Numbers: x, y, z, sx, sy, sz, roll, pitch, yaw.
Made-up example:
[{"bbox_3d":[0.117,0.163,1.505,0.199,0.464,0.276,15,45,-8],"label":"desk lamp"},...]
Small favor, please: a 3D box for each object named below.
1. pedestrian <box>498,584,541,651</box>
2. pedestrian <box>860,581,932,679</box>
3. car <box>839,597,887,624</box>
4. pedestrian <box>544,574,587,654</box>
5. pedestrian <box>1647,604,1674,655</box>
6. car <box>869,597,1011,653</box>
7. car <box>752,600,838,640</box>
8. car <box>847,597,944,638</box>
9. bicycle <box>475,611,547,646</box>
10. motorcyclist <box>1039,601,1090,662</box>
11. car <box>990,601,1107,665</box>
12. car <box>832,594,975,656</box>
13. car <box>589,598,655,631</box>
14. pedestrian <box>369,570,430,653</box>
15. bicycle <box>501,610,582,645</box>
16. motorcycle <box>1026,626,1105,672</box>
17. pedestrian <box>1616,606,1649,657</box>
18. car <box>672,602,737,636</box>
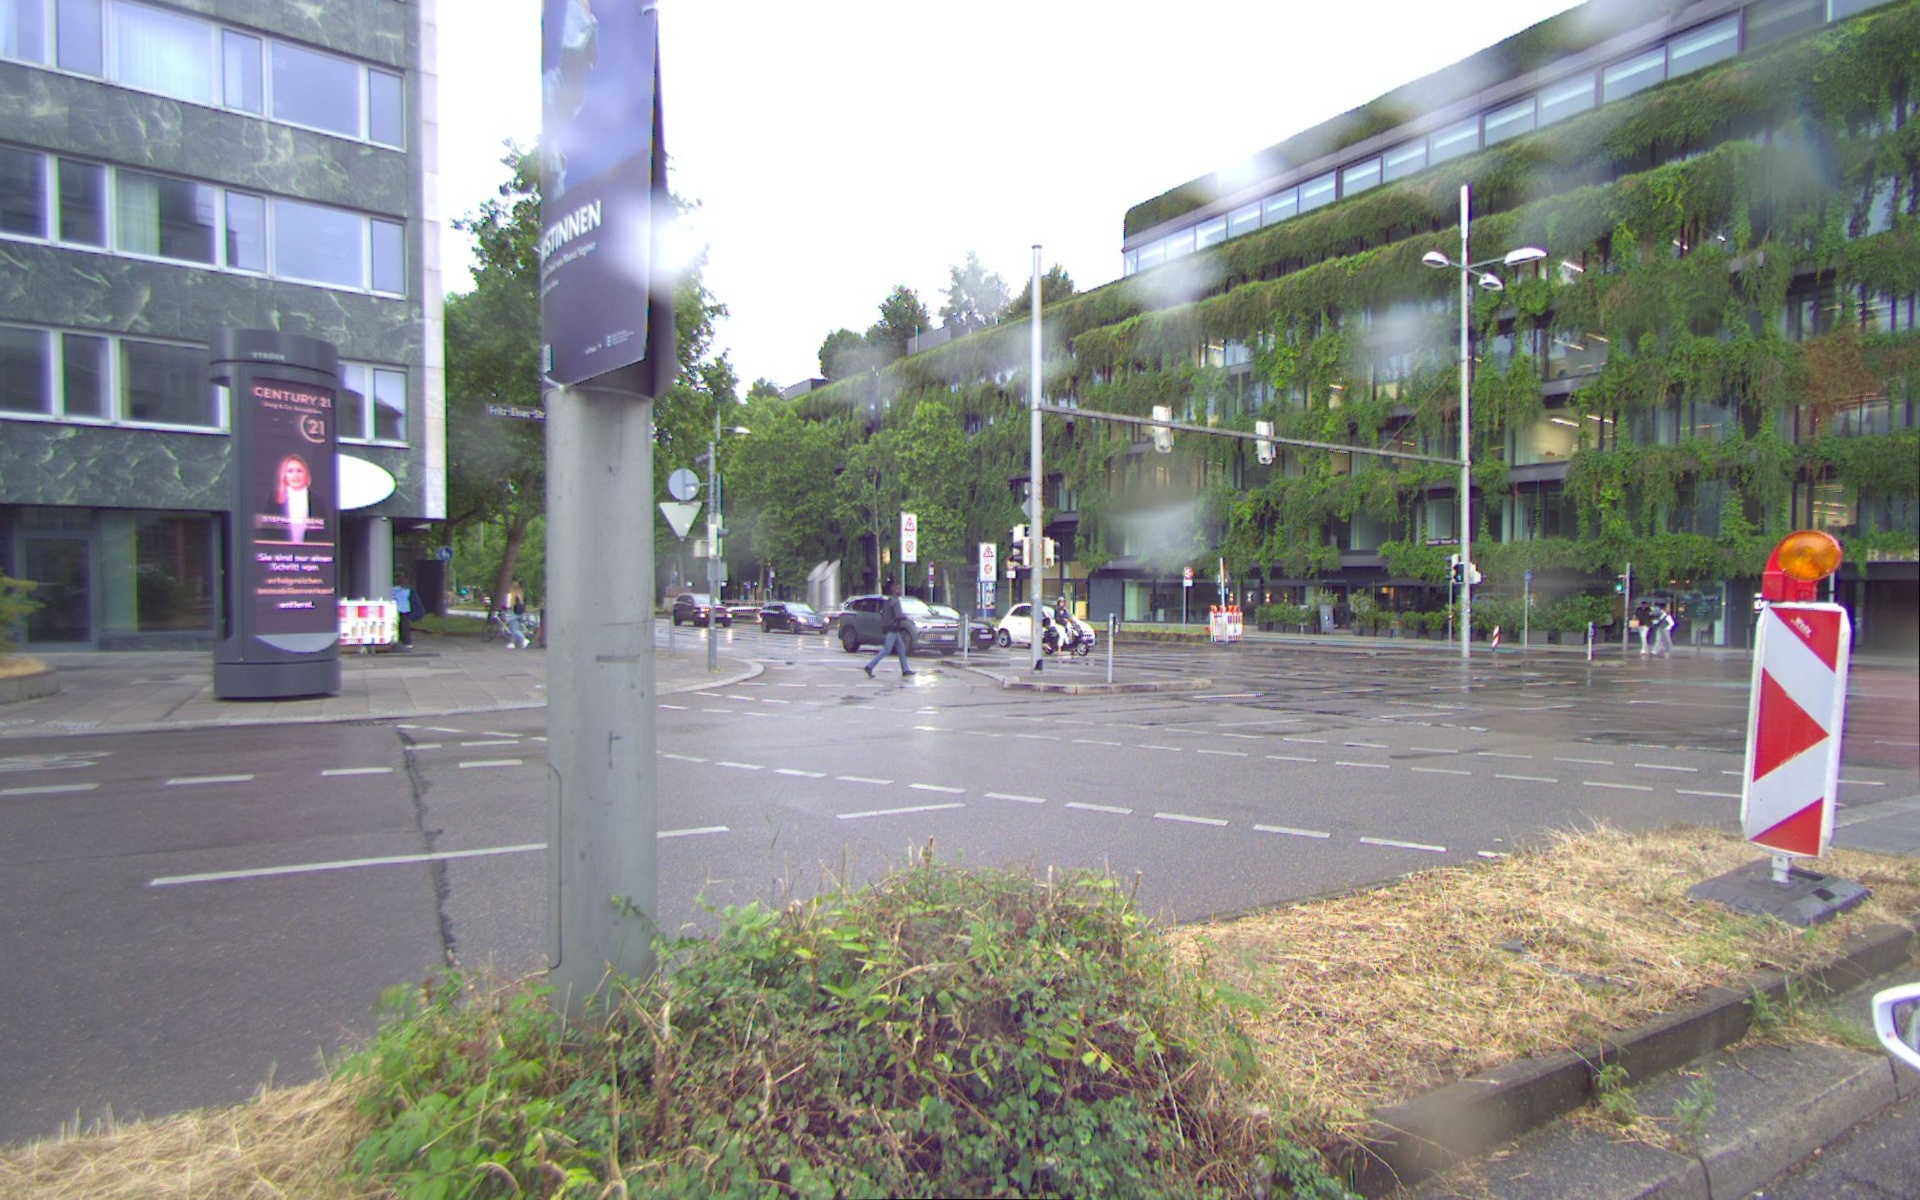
[{"bbox_3d":[-10.950,0.436,24.953,0.912,1.606,0.828,1,-4,-30],"label":"pedestrian"},{"bbox_3d":[-1.280,0.592,20.202,1.225,1.910,0.685,1,2,-34],"label":"pedestrian"},{"bbox_3d":[-7.512,0.812,77.303,1.979,2.040,4.073,1,-1,-34],"label":"car"},{"bbox_3d":[-9.626,0.352,24.493,0.887,1.909,0.781,1,-4,-30],"label":"pedestrian"},{"bbox_3d":[24.953,1.056,35.777,0.731,1.781,0.972,1,0,37],"label":"pedestrian"},{"bbox_3d":[-0.736,0.753,32.687,1.957,1.674,4.755,1,0,-43],"label":"car"},{"bbox_3d":[-7.539,0.881,45.735,1.986,1.674,4.050,3,-1,-42],"label":"car"},{"bbox_3d":[-2.593,0.663,39.685,1.858,1.543,3.855,1,0,-42],"label":"car"},{"bbox_3d":[-12.393,0.779,27.776,1.773,0.946,0.473,1,0,-21],"label":"bicycle"},{"bbox_3d":[3.026,0.892,29.061,1.173,1.725,0.843,1,0,44],"label":"motorcyclist"},{"bbox_3d":[2.903,1.052,33.254,1.985,1.948,3.417,1,0,-42],"label":"car"},{"bbox_3d":[-1.701,0.674,29.260,1.985,1.674,4.186,1,0,-42],"label":"car"},{"bbox_3d":[-18.634,0.792,55.294,1.986,1.674,4.050,3,-1,-42],"label":"car"},{"bbox_3d":[-13.231,0.296,23.721,1.007,1.878,0.875,-3,-4,32],"label":"pedestrian"},{"bbox_3d":[-12.125,0.792,29.161,2.170,0.968,0.423,2,-1,-44],"label":"bicycle"},{"bbox_3d":[3.030,1.401,29.050,2.204,1.227,0.843,1,0,44],"label":"motorcycle"},{"bbox_3d":[24.297,1.120,36.288,0.923,1.781,1.167,1,0,37],"label":"pedestrian"},{"bbox_3d":[-13.830,1.002,54.250,1.805,1.674,4.053,3,-1,-40],"label":"car"}]
